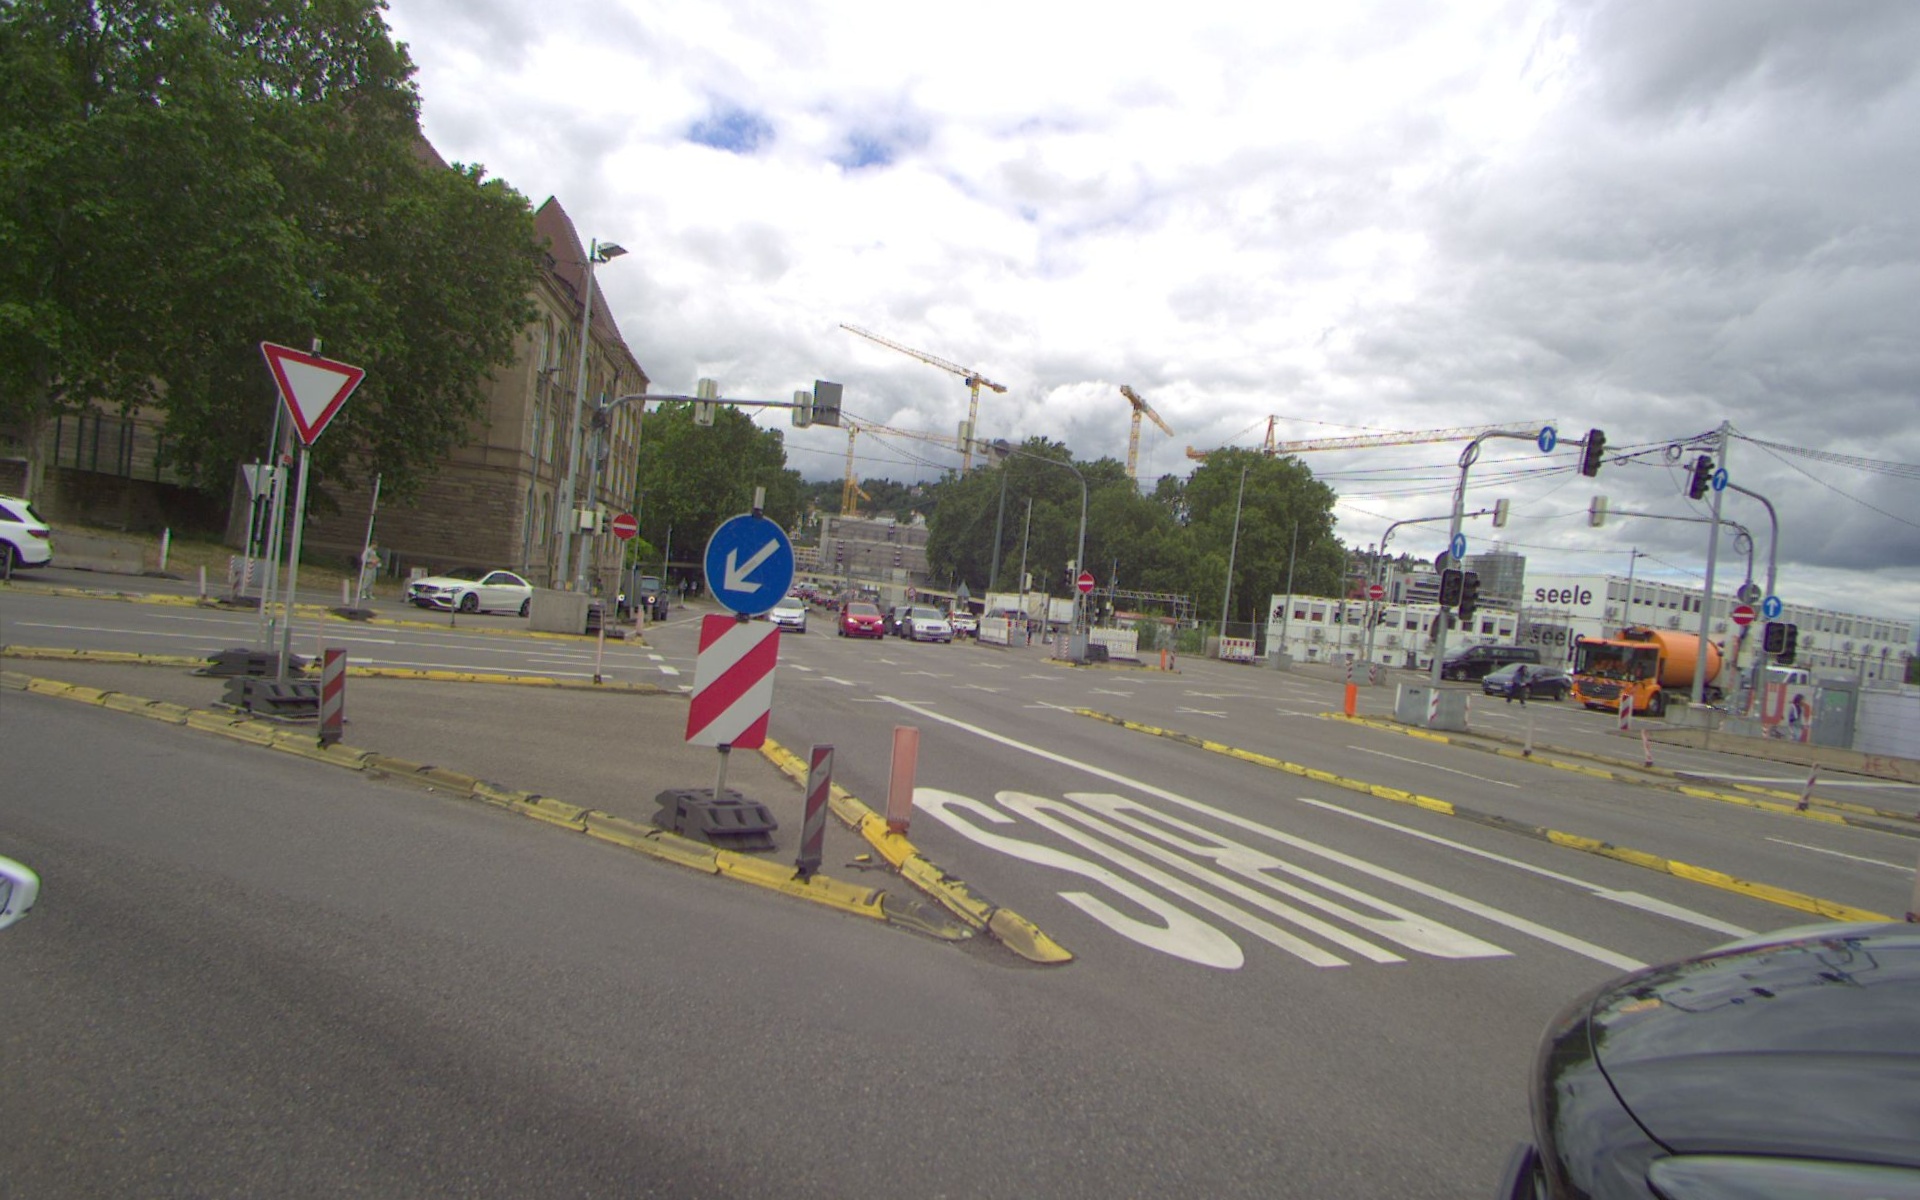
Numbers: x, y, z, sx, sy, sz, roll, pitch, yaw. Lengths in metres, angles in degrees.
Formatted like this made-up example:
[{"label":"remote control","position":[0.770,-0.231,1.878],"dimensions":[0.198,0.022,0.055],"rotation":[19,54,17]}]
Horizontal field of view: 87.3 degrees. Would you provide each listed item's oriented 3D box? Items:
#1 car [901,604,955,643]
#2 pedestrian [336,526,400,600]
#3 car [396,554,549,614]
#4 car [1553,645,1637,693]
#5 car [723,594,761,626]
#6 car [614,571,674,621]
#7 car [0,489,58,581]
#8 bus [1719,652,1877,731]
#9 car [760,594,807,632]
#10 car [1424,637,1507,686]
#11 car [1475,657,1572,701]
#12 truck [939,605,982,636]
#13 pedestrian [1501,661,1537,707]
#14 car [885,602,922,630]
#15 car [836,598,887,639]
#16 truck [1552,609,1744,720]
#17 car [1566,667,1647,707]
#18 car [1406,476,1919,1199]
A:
[{"label":"car","position":[-1.417,0.970,43.198],"dimensions":[1.666,1.453,3.439],"rotation":[4,0,-12]},{"label":"pedestrian","position":[-18.047,-1.123,30.683],"dimensions":[1.186,2.039,1.190],"rotation":[7,1,38]},{"label":"car","position":[-14.960,-0.430,31.175],"dimensions":[1.707,1.453,4.382],"rotation":[8,0,15]},{"label":"car","position":[34.090,3.712,53.998],"dimensions":[4.120,2.039,1.983],"rotation":[7,1,-31]},{"label":"car","position":[-12.316,0.547,56.772],"dimensions":[1.809,1.588,3.989],"rotation":[5,-1,-15]},{"label":"car","position":[-14.062,-0.135,44.983],"dimensions":[1.905,1.960,3.672],"rotation":[4,-3,-8]},{"label":"car","position":[-20.378,-1.530,19.155],"dimensions":[1.792,1.662,4.531],"rotation":[9,0,42]},{"label":"bus","position":[45.170,4.947,54.160],"dimensions":[9.288,3.209,2.794],"rotation":[7,1,-27]},{"label":"car","position":[-7.541,0.544,42.812],"dimensions":[1.638,1.453,3.438],"rotation":[4,-1,-14]},{"label":"car","position":[26.484,3.220,52.693],"dimensions":[3.961,2.039,1.981],"rotation":[7,1,-34]},{"label":"car","position":[24.105,3.383,43.009],"dimensions":[4.025,1.453,1.771],"rotation":[6,1,-32]},{"label":"truck","position":[0.013,1.447,72.061],"dimensions":[1.911,1.703,3.998],"rotation":[7,1,-15]},{"label":"pedestrian","position":[20.829,3.124,37.481],"dimensions":[0.617,1.612,0.843],"rotation":[5,1,-35]},{"label":"car","position":[-4.166,1.146,73.561],"dimensions":[1.737,1.708,3.630],"rotation":[6,0,-17]},{"label":"car","position":[-4.185,0.746,42.363],"dimensions":[1.663,1.453,3.438],"rotation":[5,0,-12]},{"label":"truck","position":[28.109,2.714,40.941],"dimensions":[8.933,3.722,2.885],"rotation":[6,2,-33]},{"label":"car","position":[29.466,3.961,45.815],"dimensions":[3.581,1.453,1.638],"rotation":[6,1,-32]},{"label":"car","position":[2.823,0.976,0.518],"dimensions":[4.535,1.669,1.951],"rotation":[7,1,35]}]
